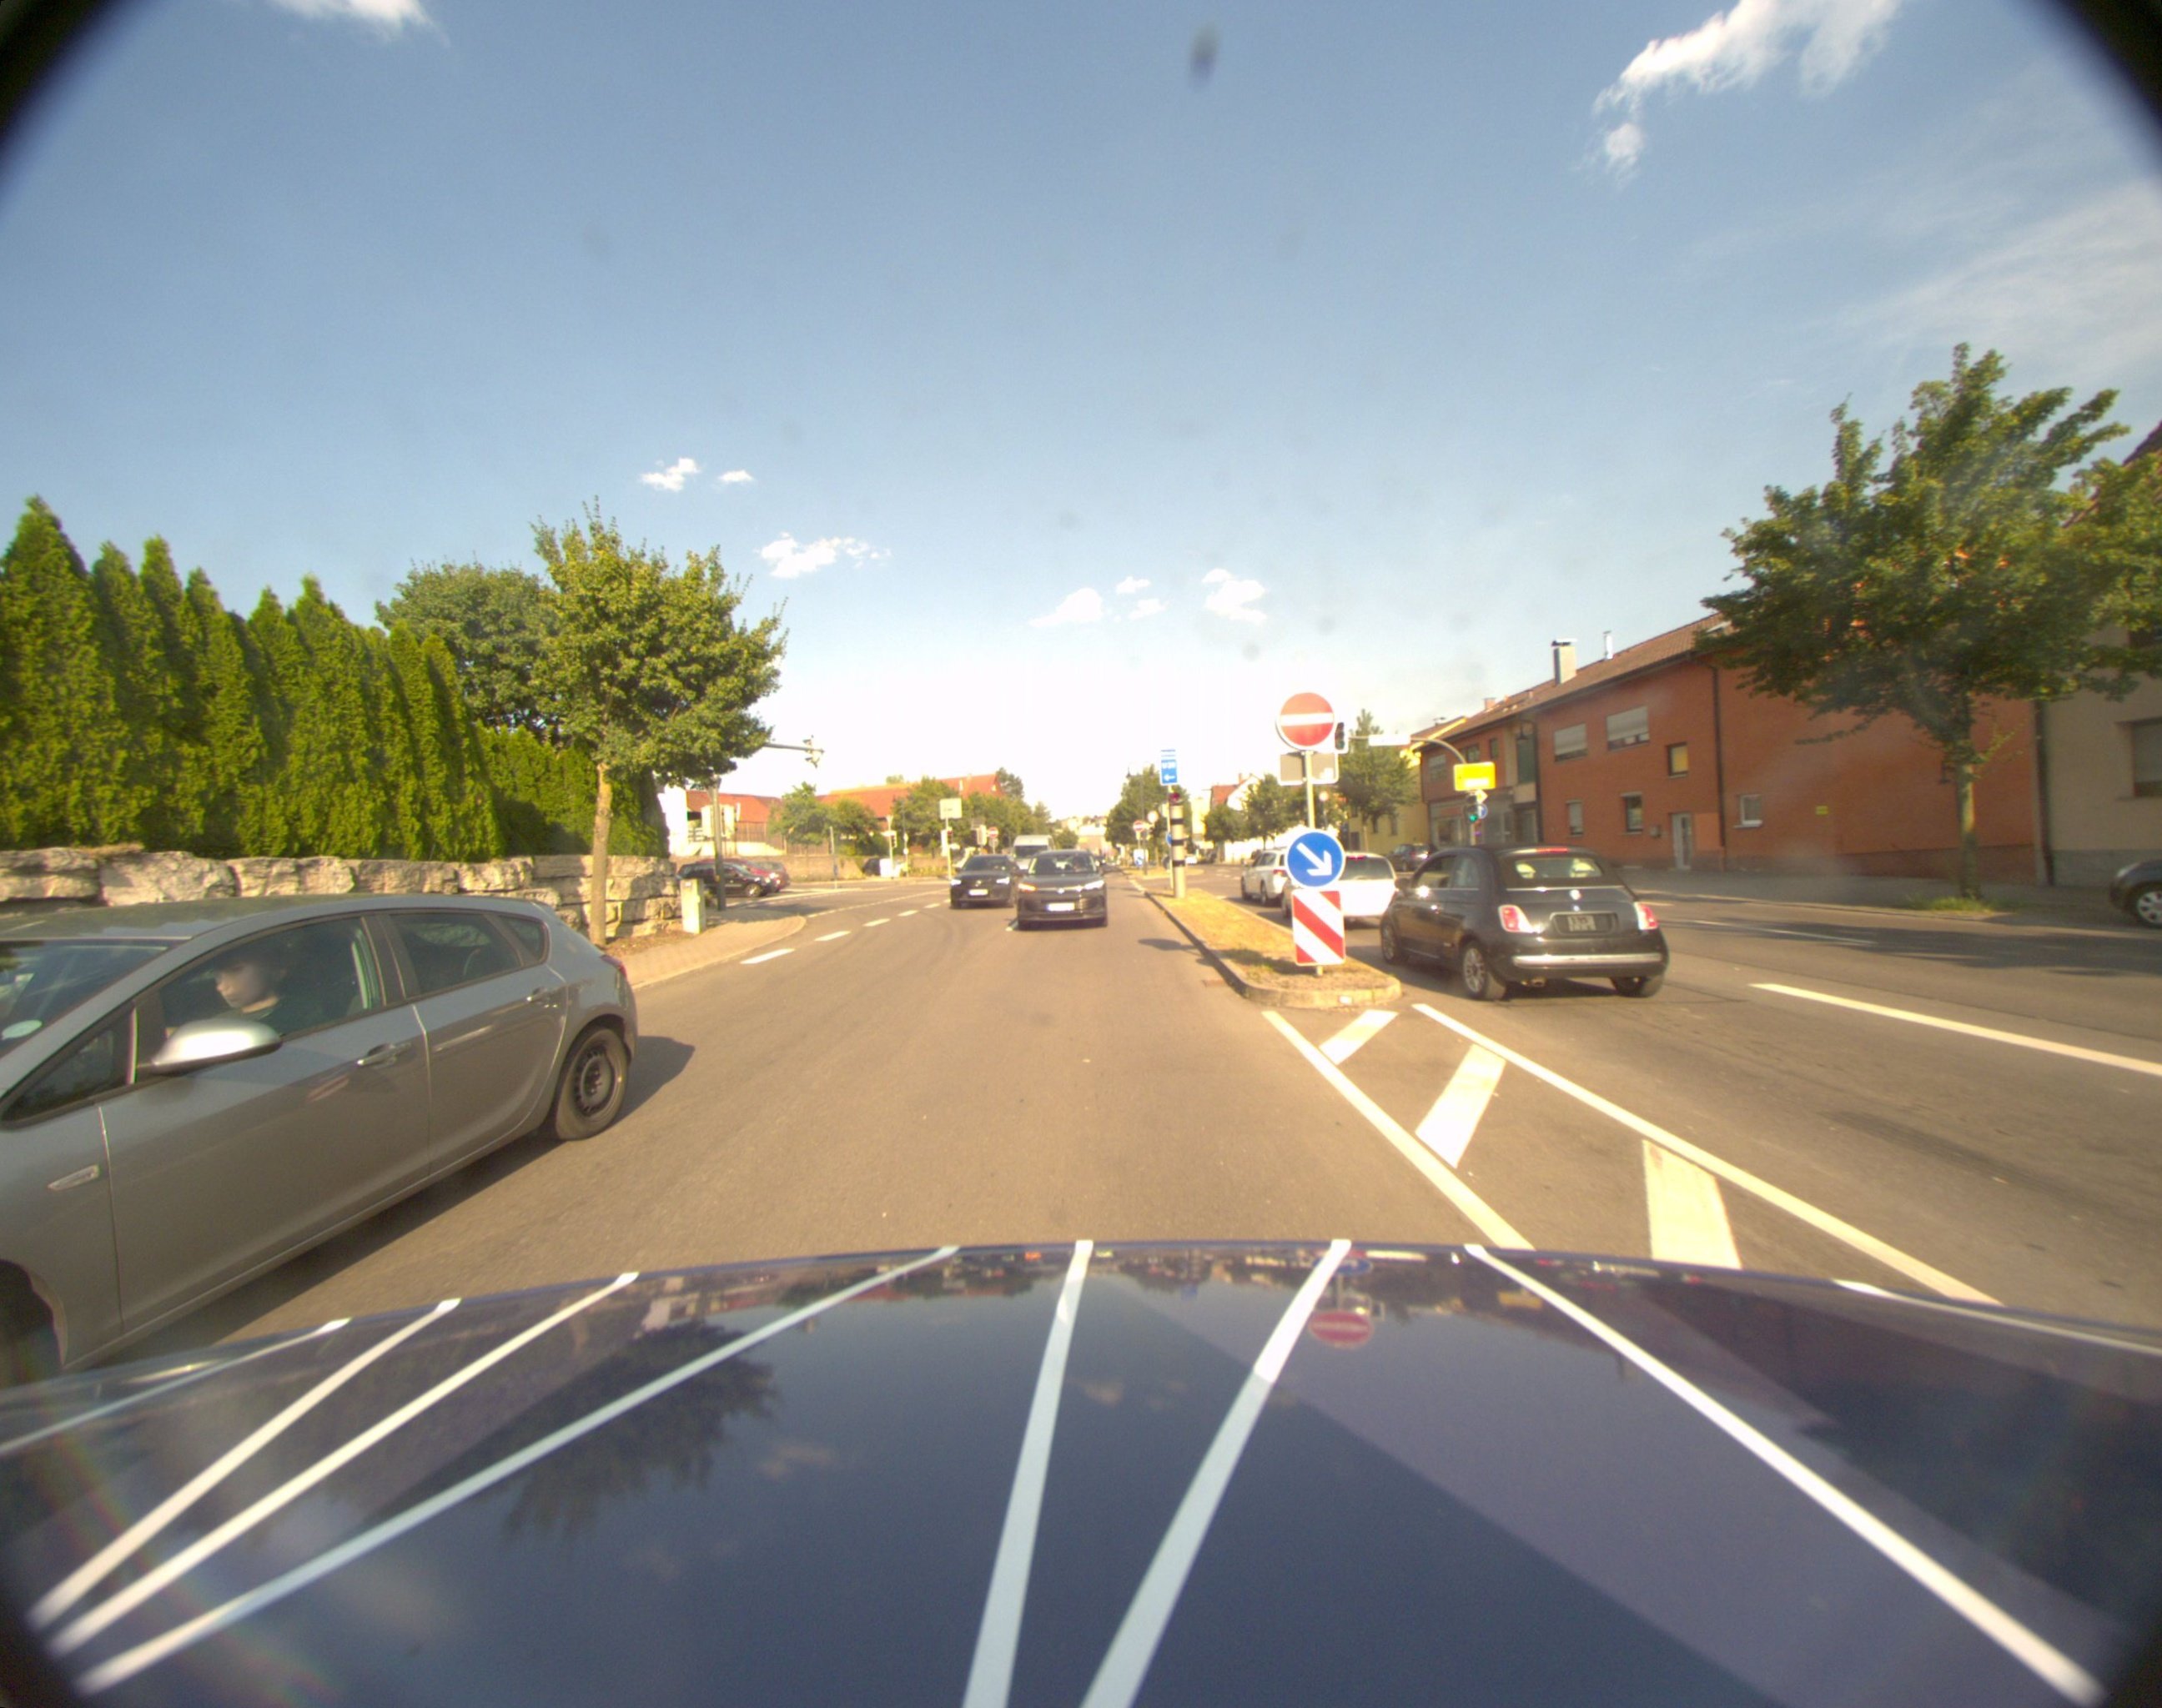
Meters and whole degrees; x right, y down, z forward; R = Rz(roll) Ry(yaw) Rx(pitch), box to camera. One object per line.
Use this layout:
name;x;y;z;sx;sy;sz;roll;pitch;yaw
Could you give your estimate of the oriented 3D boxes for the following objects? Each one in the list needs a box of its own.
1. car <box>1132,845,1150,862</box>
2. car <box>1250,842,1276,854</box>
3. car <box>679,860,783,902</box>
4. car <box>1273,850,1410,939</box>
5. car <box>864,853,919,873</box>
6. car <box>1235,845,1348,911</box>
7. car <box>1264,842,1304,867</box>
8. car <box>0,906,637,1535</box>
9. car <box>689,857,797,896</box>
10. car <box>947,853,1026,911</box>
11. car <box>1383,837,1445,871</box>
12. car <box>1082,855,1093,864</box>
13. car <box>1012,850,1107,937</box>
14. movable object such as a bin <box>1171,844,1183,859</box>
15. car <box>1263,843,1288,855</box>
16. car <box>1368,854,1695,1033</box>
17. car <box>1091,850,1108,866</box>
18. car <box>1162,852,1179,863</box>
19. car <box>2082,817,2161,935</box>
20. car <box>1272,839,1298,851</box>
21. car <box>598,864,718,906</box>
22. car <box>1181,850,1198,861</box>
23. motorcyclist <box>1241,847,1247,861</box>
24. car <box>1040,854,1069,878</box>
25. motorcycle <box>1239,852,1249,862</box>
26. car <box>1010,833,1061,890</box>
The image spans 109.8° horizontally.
car;9.130;-0.048;115.675;2.090;2.461;5.478;-2;0;-1
car;25.897;-0.875;108.057;3.417;1.616;1.857;-1;0;-40
car;-14.638;1.104;32.030;3.802;1.533;1.596;-2;1;-20
car;4.851;0.672;14.615;1.592;1.419;3.579;-2;1;4
car;-15.901;0.744;63.870;4.072;1.448;1.680;-2;0;14
car;5.441;0.569;20.270;1.839;1.480;4.566;-2;0;2
car;13.963;0.034;52.477;1.690;1.602;4.413;-2;0;2
car;-3.589;1.039;2.654;1.652;1.414;4.143;-1;0;-1
car;-16.020;1.060;36.166;4.251;1.616;1.861;-2;0;-4
car;-2.854;0.799;23.758;1.792;1.596;4.057;-2;0;2
car;16.564;-0.007;37.954;1.595;1.430;3.776;-7;0;6
car;1.003;0.931;125.537;1.529;1.354;2.793;-2;0;5
car;-0.346;0.767;16.635;1.768;1.582;4.057;-3;0;2
movable object such as a bin;15.426;-0.403;121.931;1.556;2.447;4.978;-1;0;3
car;27.118;-0.722;106.053;3.437;1.555;1.583;-2;0;-37
car;4.440;0.761;8.139;1.536;1.453;3.507;-2;0;3
car;2.314;0.517;94.678;1.816;1.861;4.001;-2;0;4
car;11.684;0.465;99.485;1.761;1.403;4.000;-2;0;1
car;14.792;0.254;8.696;1.516;1.501;3.886;-4;0;1
car;27.574;-1.266;102.819;3.438;1.534;1.617;-2;0;-37
car;-16.024;1.170;28.915;3.608;1.441;1.626;-1;1;-2
car;15.146;0.194;106.287;1.761;1.403;4.000;-2;0;1
motorcyclist;14.233;-0.031;66.328;0.404;1.221;0.461;-2;0;-1
car;-1.934;0.867;55.531;1.768;1.582;4.057;-3;0;2
motorcycle;14.239;0.226;66.357;0.413;0.855;1.763;-2;0;0
car;-2.241;0.332;38.905;2.040;2.642;6.649;-2;0;1
